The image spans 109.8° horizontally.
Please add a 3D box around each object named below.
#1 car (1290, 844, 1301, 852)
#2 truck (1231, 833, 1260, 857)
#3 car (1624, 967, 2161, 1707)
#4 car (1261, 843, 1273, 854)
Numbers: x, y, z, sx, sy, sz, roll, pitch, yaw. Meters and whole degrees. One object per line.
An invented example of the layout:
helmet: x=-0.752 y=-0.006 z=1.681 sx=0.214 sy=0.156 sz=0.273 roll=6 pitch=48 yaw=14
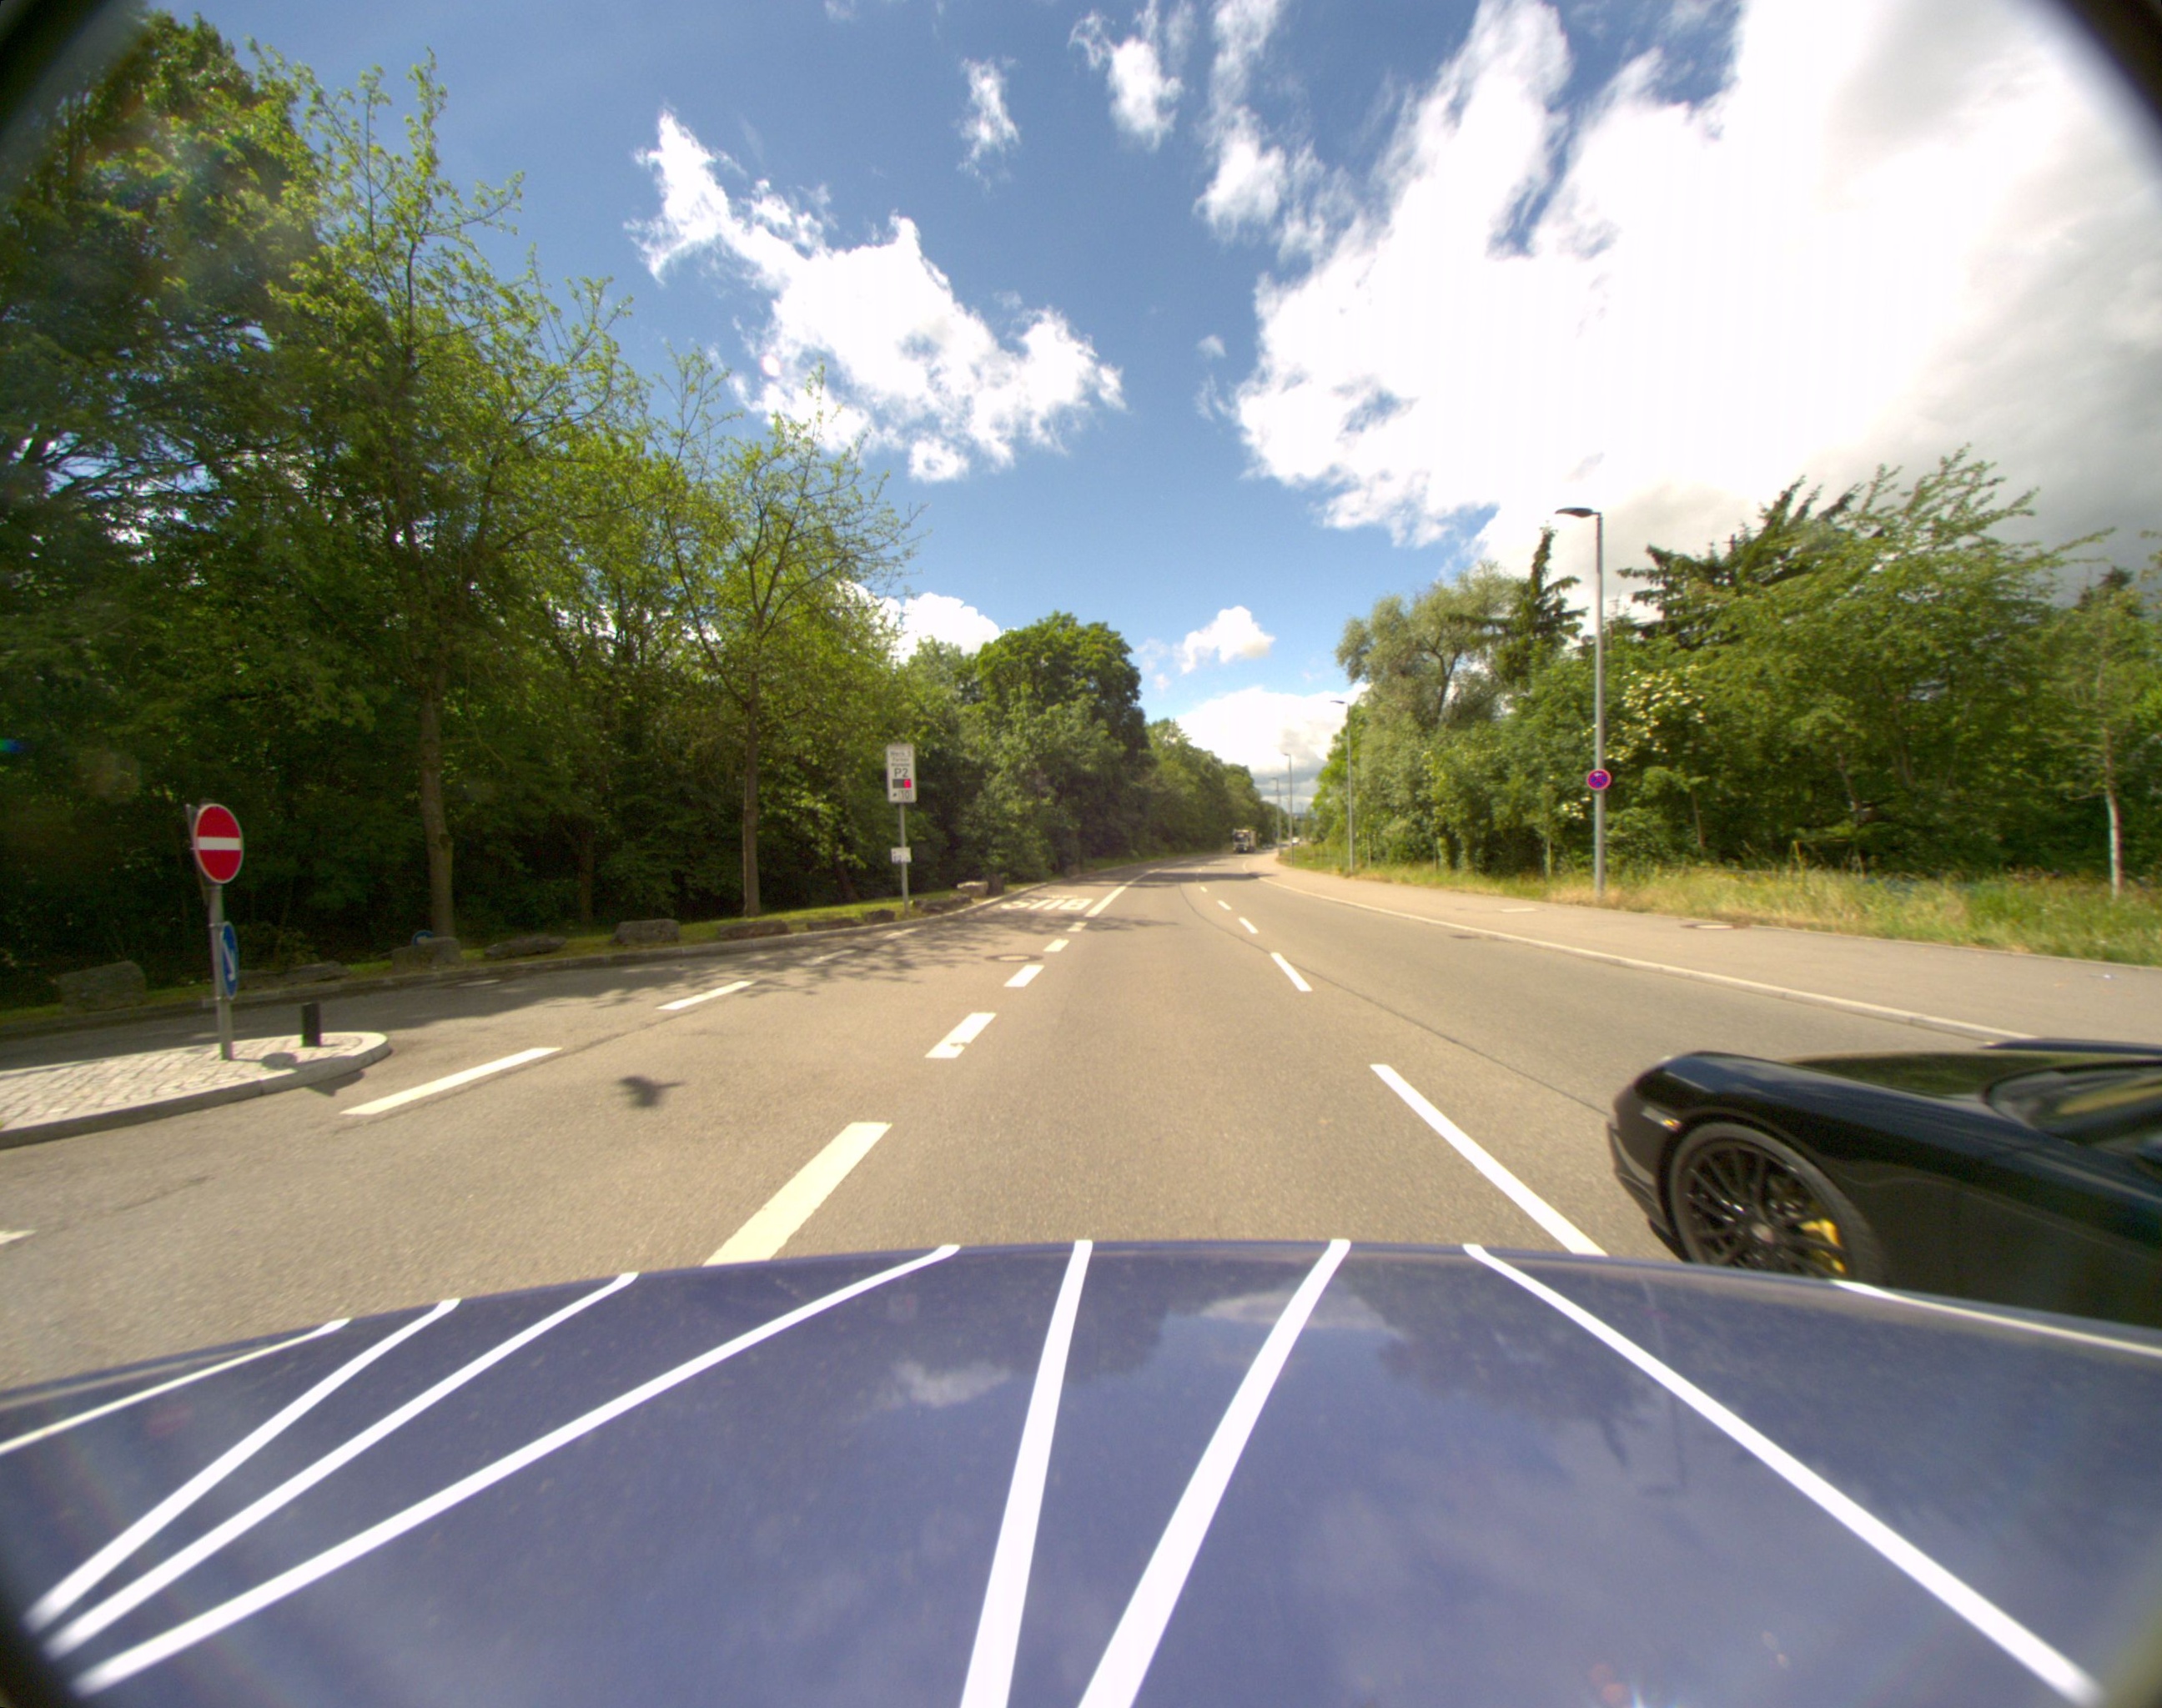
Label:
car: x=44.998 y=-1.267 z=159.349 sx=1.800 sy=1.652 sz=4.006 roll=0 pitch=1 yaw=22
truck: x=27.400 y=-1.579 z=126.009 sx=3.236 sy=3.838 sz=9.887 roll=0 pitch=1 yaw=21
car: x=2.890 y=1.088 z=0.705 sx=1.739 sy=1.293 sz=4.002 roll=-1 pitch=1 yaw=-4
car: x=38.341 y=-1.145 z=156.477 sx=1.995 sy=2.002 sz=4.005 roll=0 pitch=1 yaw=19
